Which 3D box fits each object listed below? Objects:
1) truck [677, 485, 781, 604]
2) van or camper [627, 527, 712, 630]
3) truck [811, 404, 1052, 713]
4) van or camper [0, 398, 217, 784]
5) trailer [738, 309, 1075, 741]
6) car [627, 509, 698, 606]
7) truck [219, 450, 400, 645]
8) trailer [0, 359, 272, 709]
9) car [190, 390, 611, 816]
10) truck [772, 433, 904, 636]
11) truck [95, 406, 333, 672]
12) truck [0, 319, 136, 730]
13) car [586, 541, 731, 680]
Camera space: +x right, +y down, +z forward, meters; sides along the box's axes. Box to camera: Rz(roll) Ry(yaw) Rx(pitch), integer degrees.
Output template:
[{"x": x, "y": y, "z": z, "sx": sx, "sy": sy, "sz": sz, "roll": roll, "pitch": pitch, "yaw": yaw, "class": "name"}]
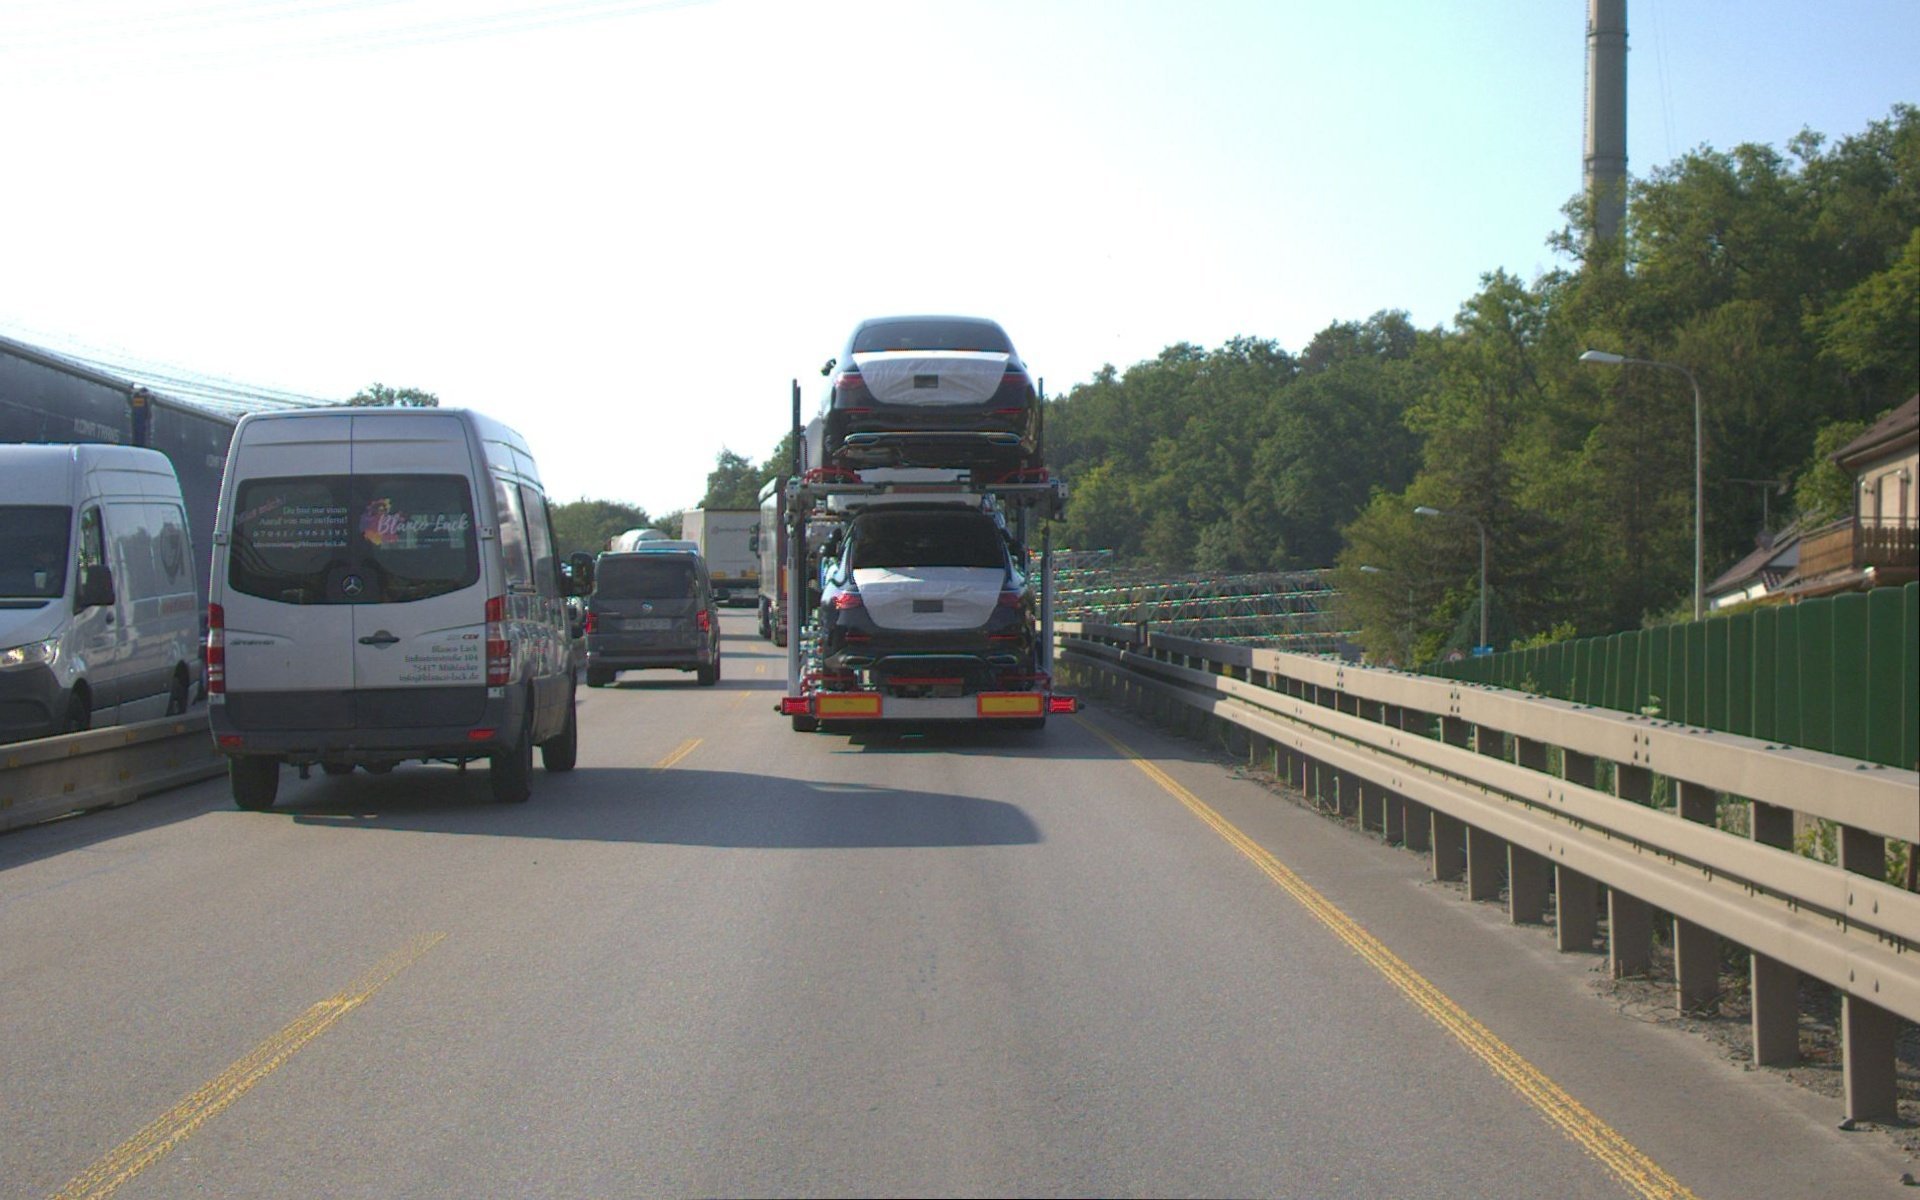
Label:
[{"x": -9.733, "y": -2.245, "z": 144.203, "sx": 4.064, "sy": 4.663, "sz": 10.593, "roll": 2, "pitch": 0, "yaw": -4, "class": "truck"}, {"x": -7.809, "y": -0.545, "z": 92.832, "sx": 1.968, "sy": 2.583, "sz": 5.042, "roll": 3, "pitch": -1, "yaw": -2, "class": "van or camper"}, {"x": -0.301, "y": -0.453, "z": 44.163, "sx": 2.682, "sy": 3.523, "sz": 7.193, "roll": 3, "pitch": -1, "yaw": 1, "class": "truck"}, {"x": -7.450, "y": -0.067, "z": 27.036, "sx": 1.993, "sy": 2.697, "sz": 5.957, "roll": -1, "pitch": 0, "yaw": -1, "class": "van or camper"}, {"x": -0.372, "y": -0.554, "z": 36.604, "sx": 2.682, "sy": 3.523, "sz": 15.287, "roll": 3, "pitch": -1, "yaw": 1, "class": "trailer"}, {"x": -16.149, "y": -2.290, "z": 187.310, "sx": 3.444, "sy": 5.018, "sz": 9.654, "roll": 2, "pitch": 0, "yaw": -4, "class": "car"}, {"x": -14.895, "y": -1.159, "z": 79.186, "sx": 2.982, "sy": 4.139, "sz": 7.393, "roll": 2, "pitch": 0, "yaw": -3, "class": "truck"}, {"x": -11.255, "y": -0.827, "z": 45.446, "sx": 2.605, "sy": 4.098, "sz": 9.628, "roll": -1, "pitch": 1, "yaw": -2, "class": "trailer"}, {"x": -3.807, "y": 0.006, "z": 24.430, "sx": 1.993, "sy": 2.639, "sz": 5.530, "roll": 1, "pitch": 0, "yaw": 0, "class": "car"}, {"x": -2.962, "y": -1.514, "z": 82.657, "sx": 2.907, "sy": 4.591, "sz": 7.286, "roll": 2, "pitch": 0, "yaw": -3, "class": "truck"}, {"x": -12.358, "y": -0.935, "z": 57.449, "sx": 2.709, "sy": 4.079, "sz": 6.204, "roll": 3, "pitch": -1, "yaw": -3, "class": "truck"}, {"x": -10.927, "y": -0.747, "z": 35.829, "sx": 2.624, "sy": 4.098, "sz": 9.628, "roll": -1, "pitch": 0, "yaw": -2, "class": "truck"}, {"x": -4.445, "y": 0.184, "z": 51.219, "sx": 1.808, "sy": 1.897, "sz": 4.000, "roll": 3, "pitch": -1, "yaw": -1, "class": "car"}]
